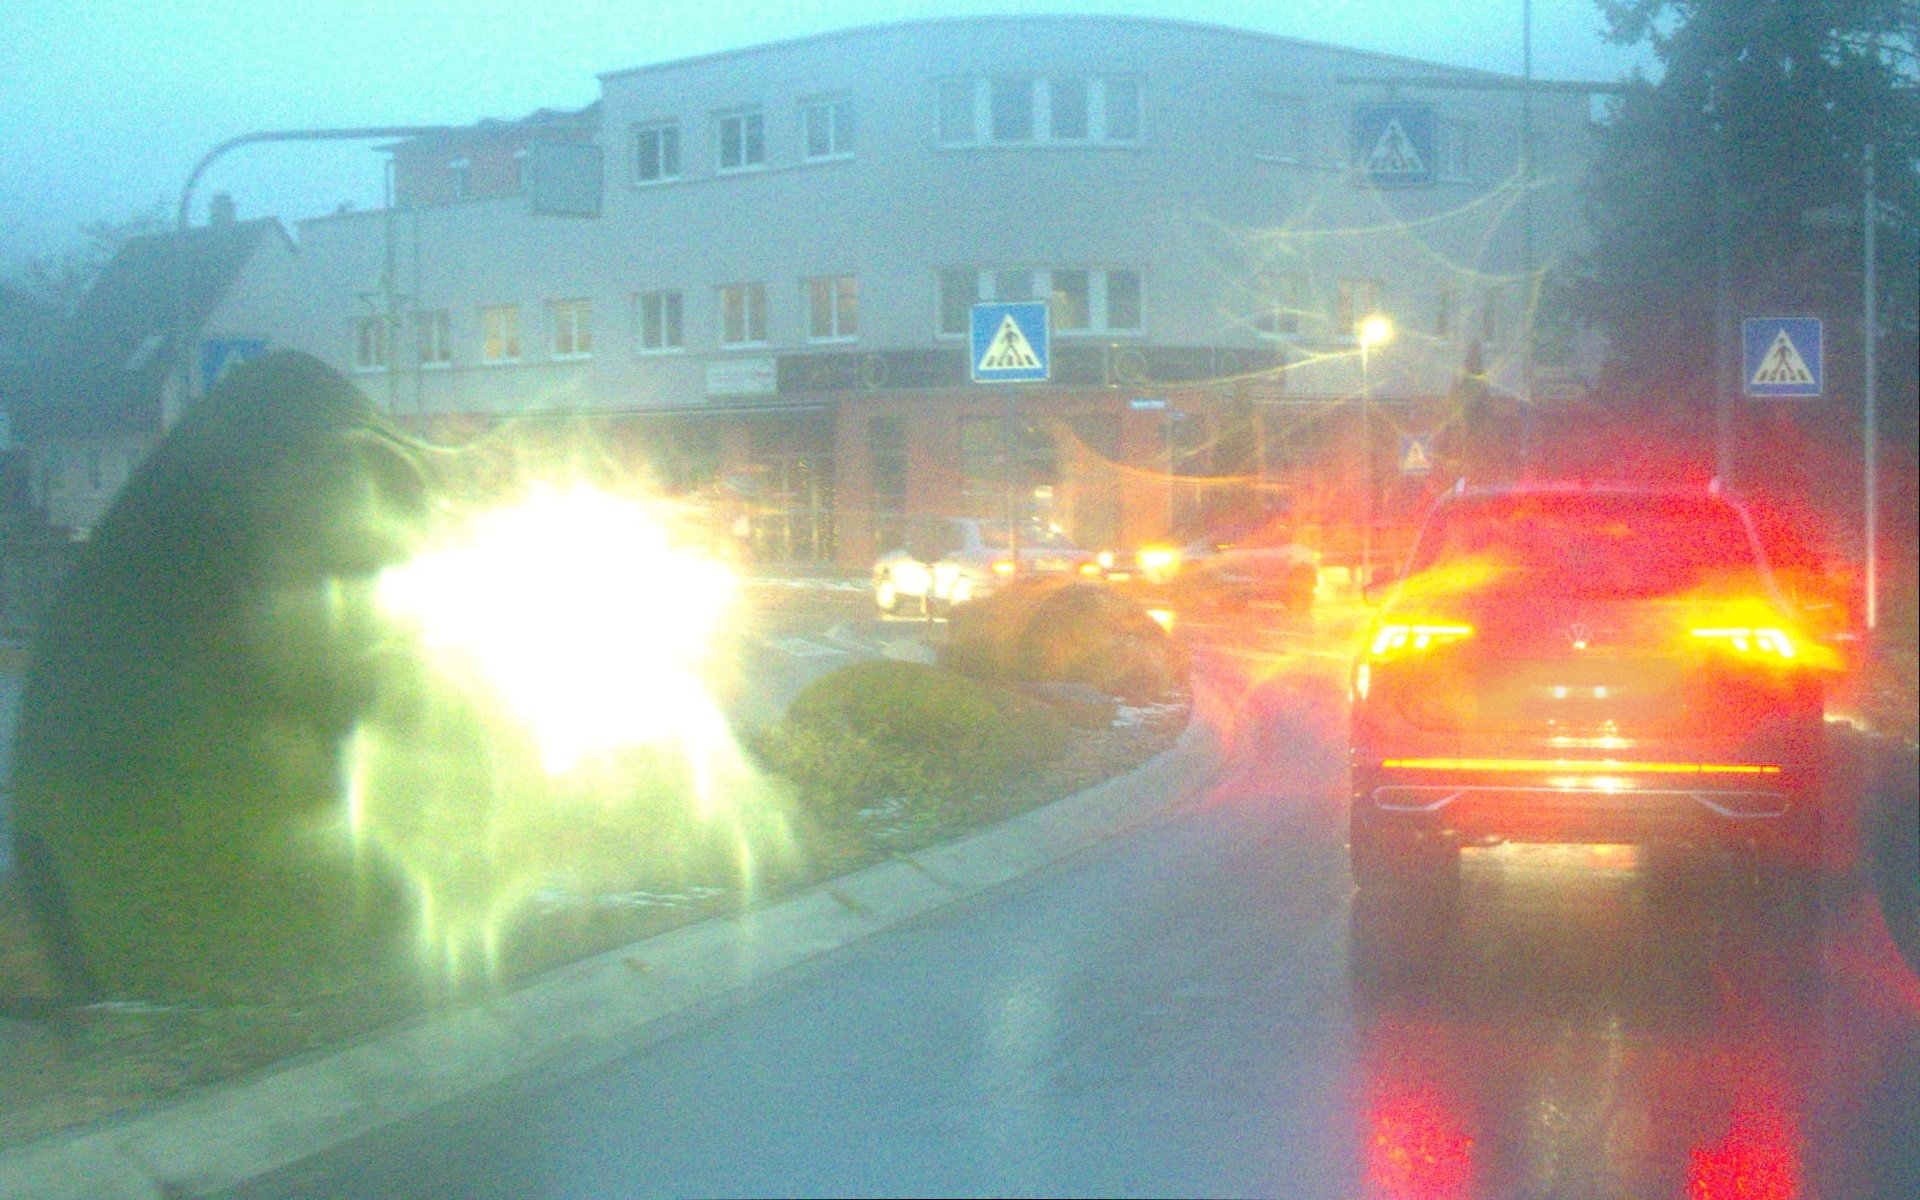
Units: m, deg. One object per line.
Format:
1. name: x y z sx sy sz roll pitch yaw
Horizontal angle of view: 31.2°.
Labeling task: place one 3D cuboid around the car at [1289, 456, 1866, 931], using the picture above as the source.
1. car: 2.423 0.262 14.442 1.944 1.712 4.000 0 2 4

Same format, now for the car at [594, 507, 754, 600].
1. car: -5.028 -0.793 59.906 1.882 1.543 4.572 -1 0 -16

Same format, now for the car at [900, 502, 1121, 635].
1. car: 0.662 -0.497 49.160 2.062 1.711 4.573 -1 3 -14

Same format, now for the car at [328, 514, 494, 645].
1. car: -9.505 -0.401 59.279 2.163 2.053 4.573 -1 3 -17

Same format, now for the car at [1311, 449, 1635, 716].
1. car: 3.881 -0.213 26.429 2.164 1.683 4.571 -3 3 7

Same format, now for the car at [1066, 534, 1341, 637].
1. car: 4.082 -0.272 57.234 4.558 1.566 1.907 -2 3 -42

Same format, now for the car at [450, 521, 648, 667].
1. car: -6.462 -0.148 53.660 2.163 2.053 4.573 -1 3 -19
